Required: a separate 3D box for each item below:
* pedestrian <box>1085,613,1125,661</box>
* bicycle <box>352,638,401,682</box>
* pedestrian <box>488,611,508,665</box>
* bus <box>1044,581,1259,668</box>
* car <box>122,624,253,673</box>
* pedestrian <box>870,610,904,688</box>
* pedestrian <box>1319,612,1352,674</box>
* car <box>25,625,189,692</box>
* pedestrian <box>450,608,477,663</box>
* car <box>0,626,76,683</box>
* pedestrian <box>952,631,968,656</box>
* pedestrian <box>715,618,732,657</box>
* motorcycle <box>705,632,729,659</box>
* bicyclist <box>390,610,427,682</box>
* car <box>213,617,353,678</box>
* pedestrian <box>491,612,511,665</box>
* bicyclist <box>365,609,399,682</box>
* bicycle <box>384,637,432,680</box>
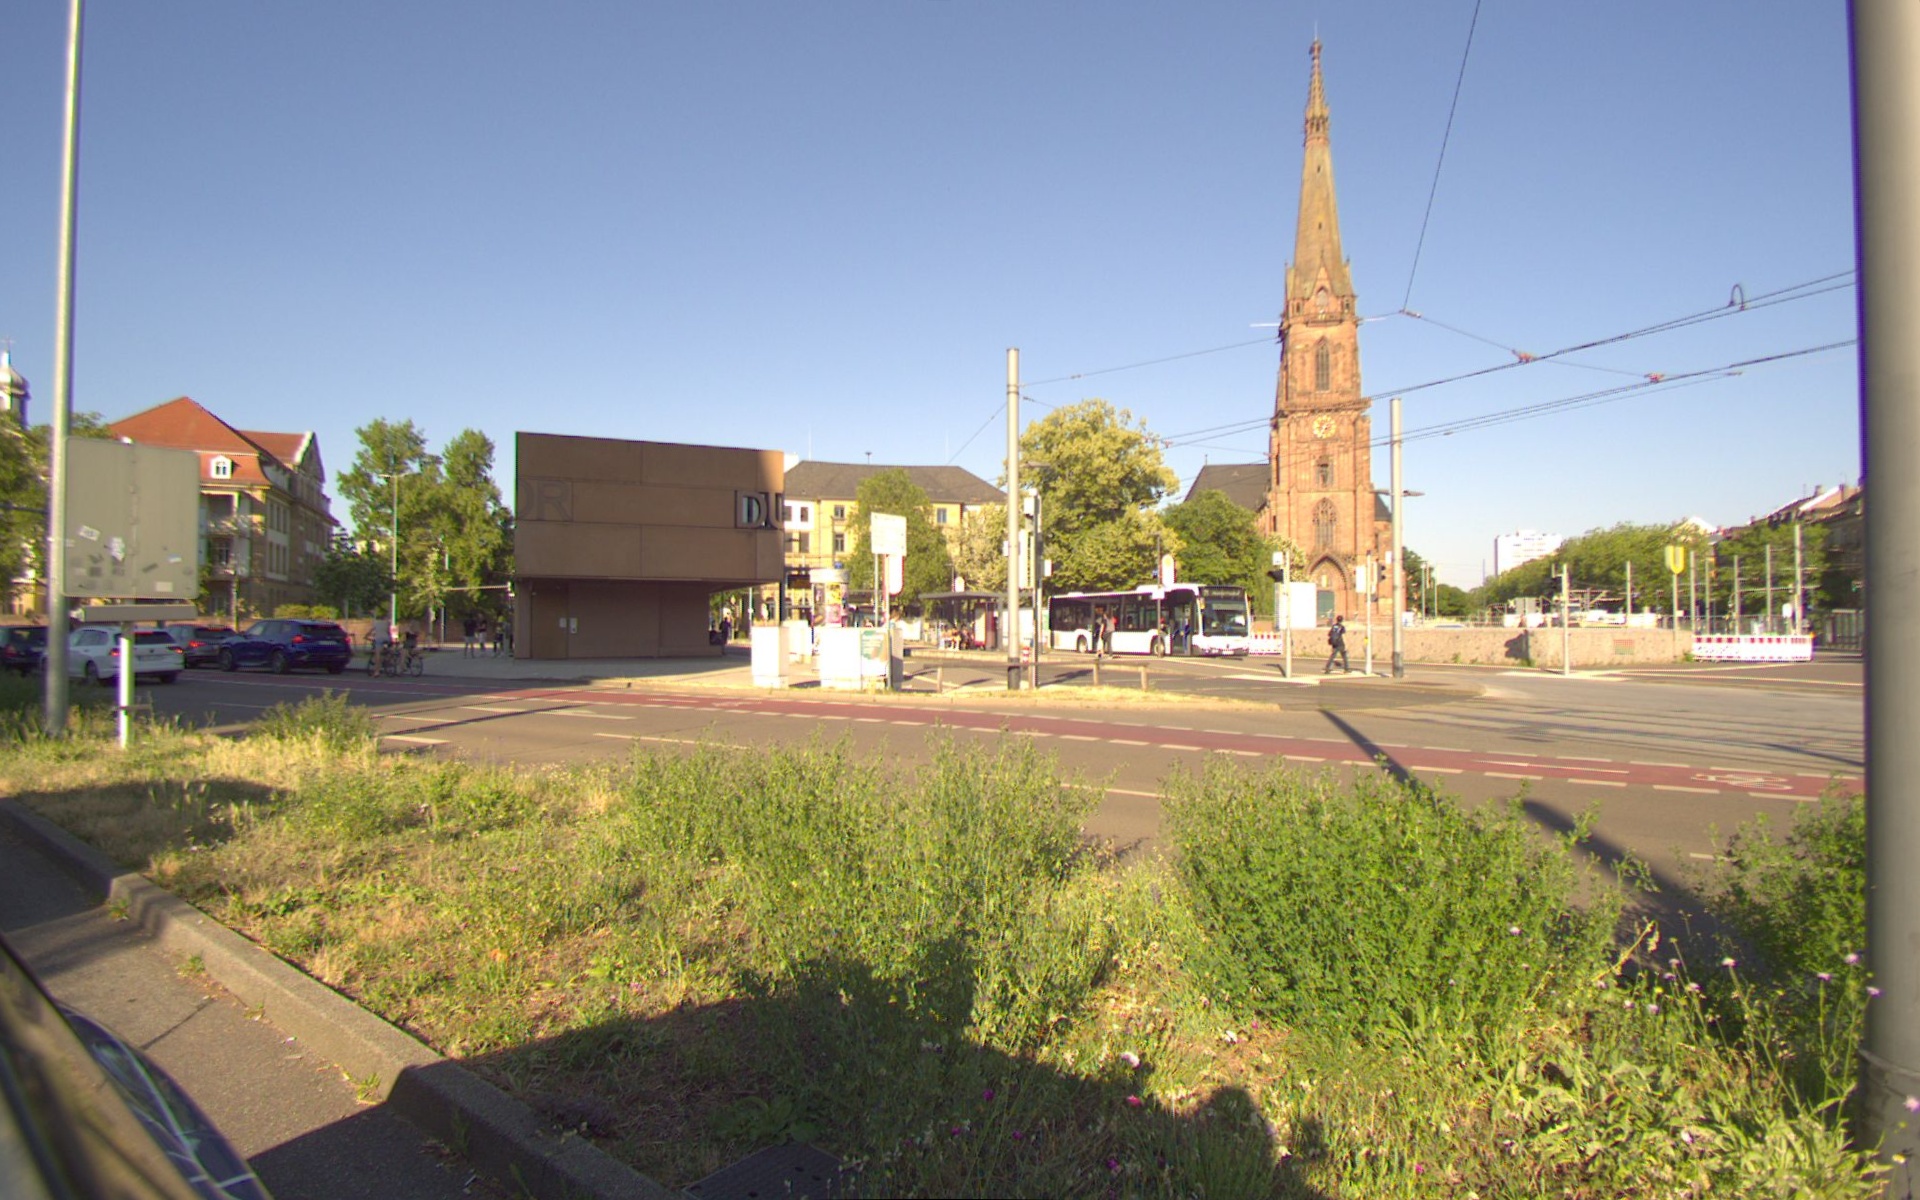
[{"bbox_3d":[5.296,1.350,36.986,1.025,1.696,1.007,-1,0,-25],"label":"pedestrian"},{"bbox_3d":[-16.502,1.685,28.612,1.388,1.201,0.461,-1,0,24],"label":"bicycle"},{"bbox_3d":[-17.700,1.438,38.759,0.645,2.029,0.470,-1,0,-29],"label":"pedestrian"},{"bbox_3d":[7.676,0.916,43.358,2.655,3.174,12.216,-1,0,-23],"label":"bus"},{"bbox_3d":[-25.258,1.572,33.057,4.375,1.503,1.831,-1,-3,30],"label":"car"},{"bbox_3d":[-1.830,1.224,25.397,0.787,1.911,0.612,0,-2,-9],"label":"pedestrian"},{"bbox_3d":[10.920,1.246,29.435,0.702,1.771,0.584,-1,0,-30],"label":"pedestrian"},{"bbox_3d":[-21.591,1.415,25.572,4.375,1.503,1.831,-1,0,30],"label":"car"},{"bbox_3d":[-18.855,1.335,38.450,0.765,2.029,0.775,-1,0,-37],"label":"pedestrian"},{"bbox_3d":[-26.994,1.499,28.671,4.173,1.470,1.738,-1,0,31],"label":"car"},{"bbox_3d":[0.001,2.125,49.828,0.531,1.196,0.660,-1,0,-21],"label":"pedestrian"},{"bbox_3d":[-12.781,2.017,54.699,0.762,2.029,0.778,-1,0,-2],"label":"pedestrian"},{"bbox_3d":[-10.097,1.887,42.073,0.935,1.075,0.331,-1,0,-11],"label":"motorcycle"},{"bbox_3d":[-15.890,1.313,29.162,0.705,2.029,0.605,-1,-2,25],"label":"bicyclist"},{"bbox_3d":[-20.139,1.373,30.084,4.170,1.703,1.739,-1,-1,29],"label":"car"},{"bbox_3d":[-17.996,1.503,39.686,0.645,2.029,0.470,-1,0,-29],"label":"pedestrian"},{"bbox_3d":[-16.317,1.269,28.567,0.562,2.029,0.605,-1,-2,25],"label":"bicyclist"},{"bbox_3d":[-15.928,1.678,29.190,1.388,1.201,0.461,-1,0,24],"label":"bicycle"}]
